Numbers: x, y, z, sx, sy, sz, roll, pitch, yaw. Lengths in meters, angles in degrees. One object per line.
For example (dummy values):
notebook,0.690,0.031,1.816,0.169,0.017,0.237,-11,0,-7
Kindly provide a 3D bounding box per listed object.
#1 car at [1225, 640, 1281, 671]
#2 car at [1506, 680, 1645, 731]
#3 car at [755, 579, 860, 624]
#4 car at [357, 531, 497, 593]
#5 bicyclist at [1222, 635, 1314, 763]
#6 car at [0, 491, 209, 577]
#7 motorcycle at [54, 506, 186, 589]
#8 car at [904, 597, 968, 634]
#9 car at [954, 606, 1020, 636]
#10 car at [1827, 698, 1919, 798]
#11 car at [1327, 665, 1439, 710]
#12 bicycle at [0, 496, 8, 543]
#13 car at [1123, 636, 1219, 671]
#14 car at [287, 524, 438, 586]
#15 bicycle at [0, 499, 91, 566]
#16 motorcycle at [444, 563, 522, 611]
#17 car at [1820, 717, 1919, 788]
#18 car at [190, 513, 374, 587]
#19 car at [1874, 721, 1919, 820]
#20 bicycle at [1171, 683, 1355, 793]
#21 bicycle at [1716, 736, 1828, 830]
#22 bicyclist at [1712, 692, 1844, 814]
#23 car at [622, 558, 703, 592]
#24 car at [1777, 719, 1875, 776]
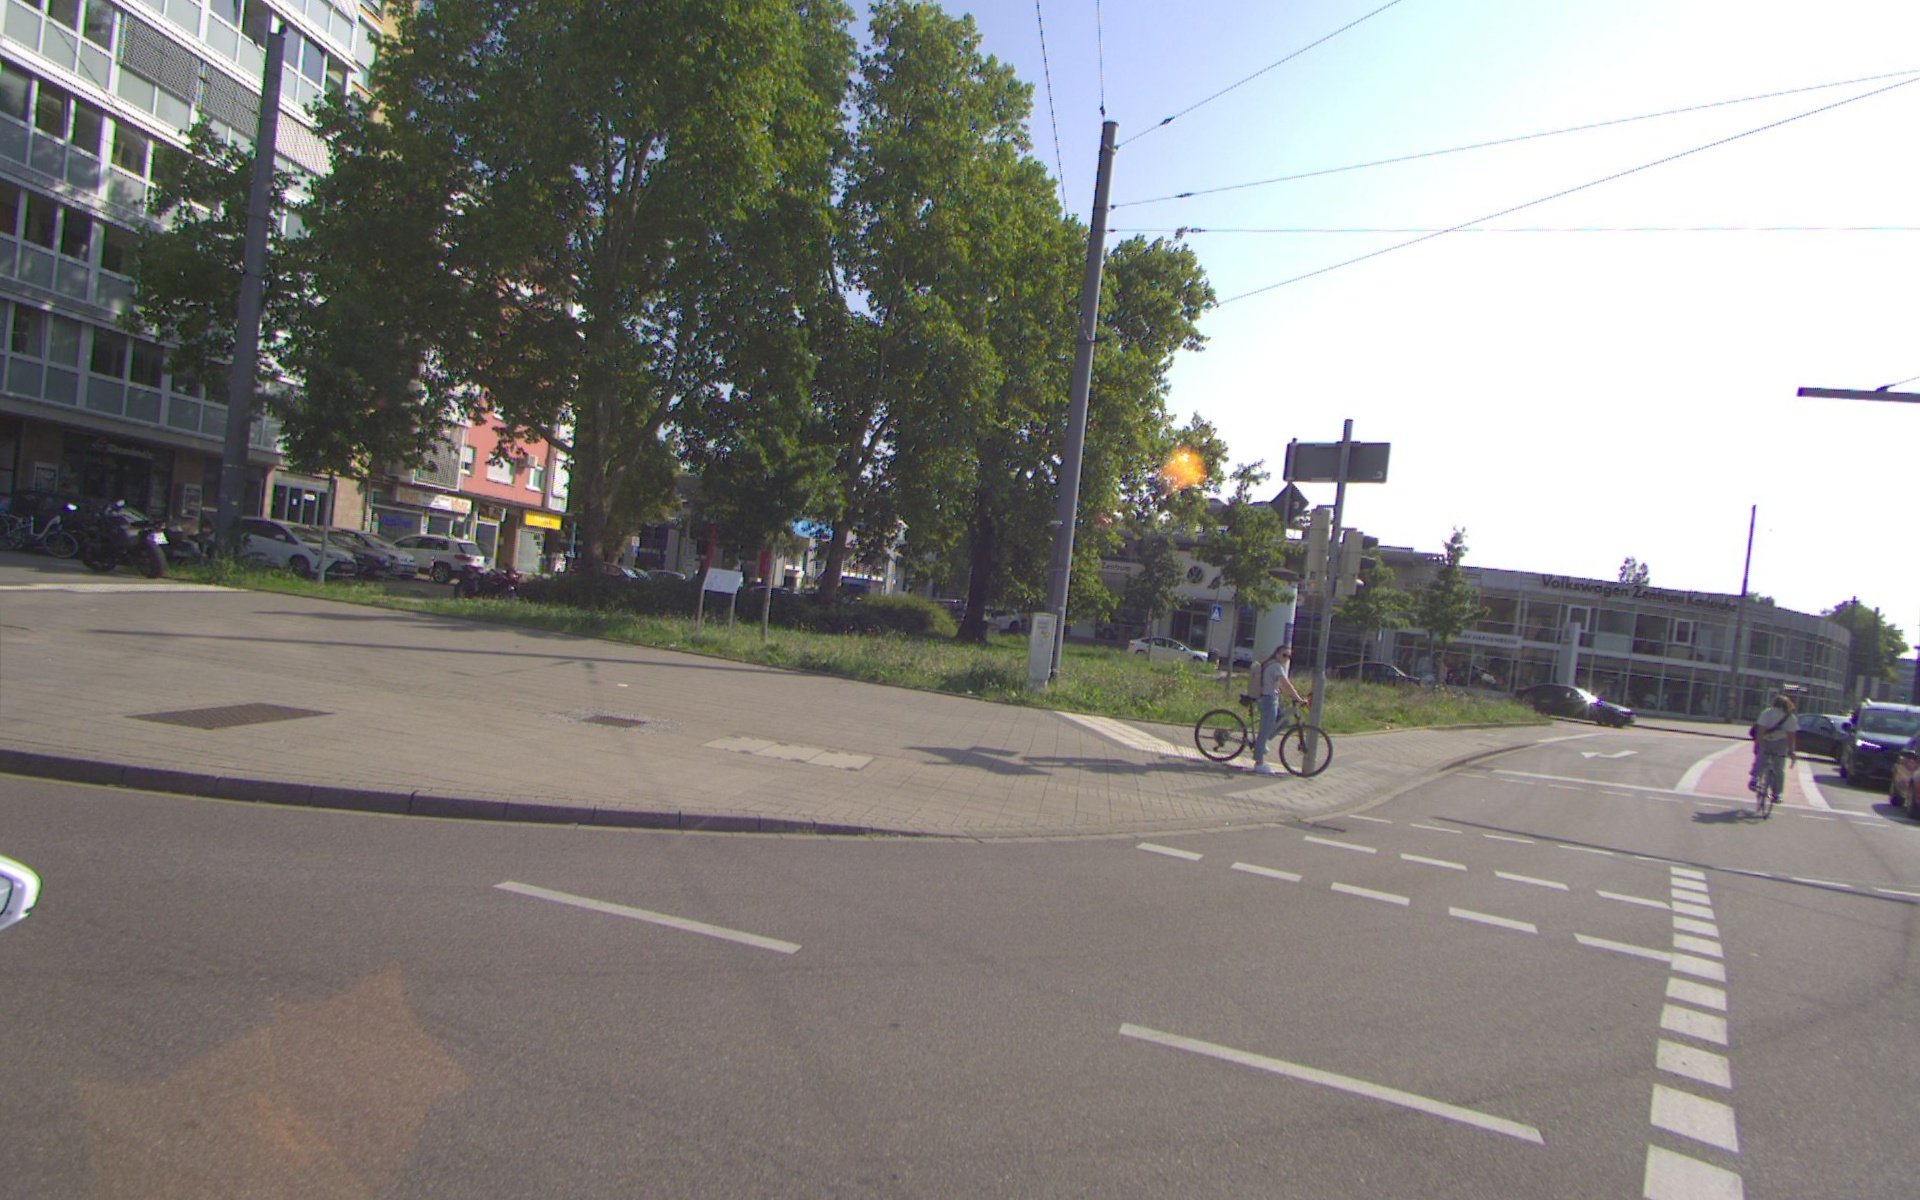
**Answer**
car,17.287,3.282,59.163,1.967,1.480,4.316,7,-1,31
car,25.190,4.314,41.282,1.985,1.387,4.348,7,0,-41
car,-6.439,0.074,42.767,3.924,1.393,2.001,7,0,6
car,-19.275,-1.353,36.493,3.924,1.665,2.001,7,0,7
bicyclist,3.865,1.226,12.610,0.806,1.444,0.730,8,1,29
car,-20.431,-1.555,23.849,4.114,1.459,1.663,7,0,7
motorcycle,-14.472,-0.904,17.319,2.259,1.161,0.705,7,1,23
car,-1.683,1.100,70.621,3.934,2.038,1.942,7,0,33
car,1.820,1.424,67.025,4.031,1.480,1.977,8,0,-40
car,20.555,3.211,22.111,1.776,1.850,4.756,7,0,37
car,19.233,3.955,45.797,4.325,1.387,1.996,7,0,32
bicycle,-24.934,-2.113,24.864,0.658,1.198,2.024,7,0,7
car,10.699,2.695,51.027,4.320,1.180,1.998,7,0,27
car,-20.241,-1.490,34.165,3.924,1.526,2.001,7,0,7
bicycle,-20.641,-1.531,22.290,2.258,1.250,0.524,7,1,2
motorcycle,-12.670,-0.348,26.719,1.921,1.014,0.705,7,1,23
car,24.358,4.006,26.862,1.776,1.459,3.618,7,0,37
car,-19.429,-1.417,28.926,3.924,1.526,2.001,7,0,7
car,16.487,2.873,16.456,1.776,1.433,3.986,7,0,37
bicycle,3.772,1.693,12.612,2.040,0.906,0.566,10,4,30
bicycle,11.554,2.570,14.390,0.519,1.001,2.197,6,0,22
bicyclist,11.661,2.149,14.397,1.067,1.493,0.971,7,1,21
car,-16.860,-1.381,57.053,3.924,1.393,1.743,7,0,6
car,26.799,4.521,31.231,1.775,1.298,3.621,7,0,34
